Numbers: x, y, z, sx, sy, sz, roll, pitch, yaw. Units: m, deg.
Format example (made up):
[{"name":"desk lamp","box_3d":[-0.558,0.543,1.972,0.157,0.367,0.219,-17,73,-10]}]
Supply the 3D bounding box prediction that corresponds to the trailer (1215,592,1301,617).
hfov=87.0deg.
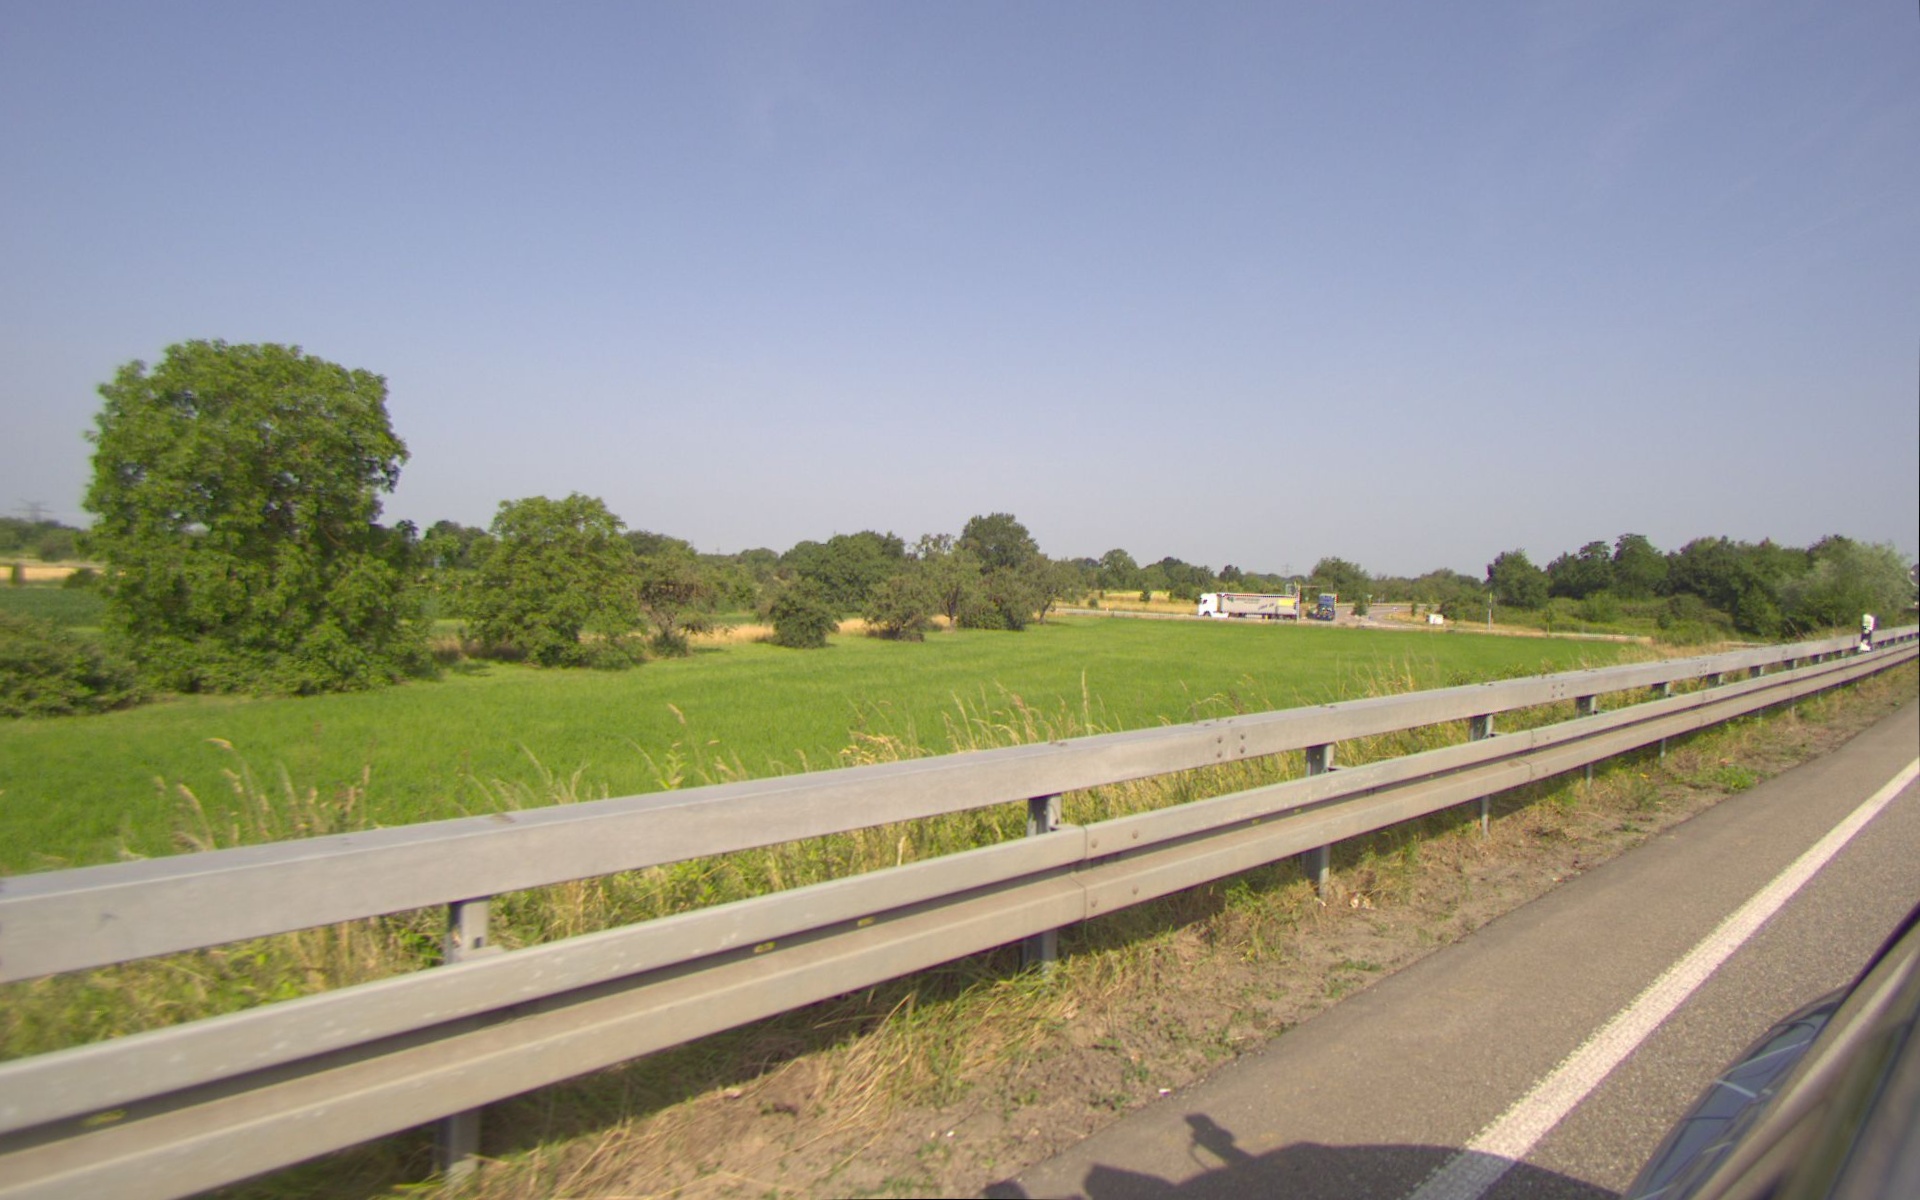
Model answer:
[{"name":"trailer","box_3d":[48.526,0.757,164.892,13.647,3.698,2.111,1,0,-7]}]

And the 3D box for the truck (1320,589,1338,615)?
[{"name":"truck","box_3d":[62.597,0.280,171.651,2.241,4.221,4.329,2,1,28]}]

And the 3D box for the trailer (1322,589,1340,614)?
[{"name":"trailer","box_3d":[65.207,0.215,177.699,2.236,4.221,14.316,2,1,22]}]

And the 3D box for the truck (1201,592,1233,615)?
[{"name":"truck","box_3d":[41.757,0.549,164.562,4.875,3.724,2.097,2,0,17]}]
